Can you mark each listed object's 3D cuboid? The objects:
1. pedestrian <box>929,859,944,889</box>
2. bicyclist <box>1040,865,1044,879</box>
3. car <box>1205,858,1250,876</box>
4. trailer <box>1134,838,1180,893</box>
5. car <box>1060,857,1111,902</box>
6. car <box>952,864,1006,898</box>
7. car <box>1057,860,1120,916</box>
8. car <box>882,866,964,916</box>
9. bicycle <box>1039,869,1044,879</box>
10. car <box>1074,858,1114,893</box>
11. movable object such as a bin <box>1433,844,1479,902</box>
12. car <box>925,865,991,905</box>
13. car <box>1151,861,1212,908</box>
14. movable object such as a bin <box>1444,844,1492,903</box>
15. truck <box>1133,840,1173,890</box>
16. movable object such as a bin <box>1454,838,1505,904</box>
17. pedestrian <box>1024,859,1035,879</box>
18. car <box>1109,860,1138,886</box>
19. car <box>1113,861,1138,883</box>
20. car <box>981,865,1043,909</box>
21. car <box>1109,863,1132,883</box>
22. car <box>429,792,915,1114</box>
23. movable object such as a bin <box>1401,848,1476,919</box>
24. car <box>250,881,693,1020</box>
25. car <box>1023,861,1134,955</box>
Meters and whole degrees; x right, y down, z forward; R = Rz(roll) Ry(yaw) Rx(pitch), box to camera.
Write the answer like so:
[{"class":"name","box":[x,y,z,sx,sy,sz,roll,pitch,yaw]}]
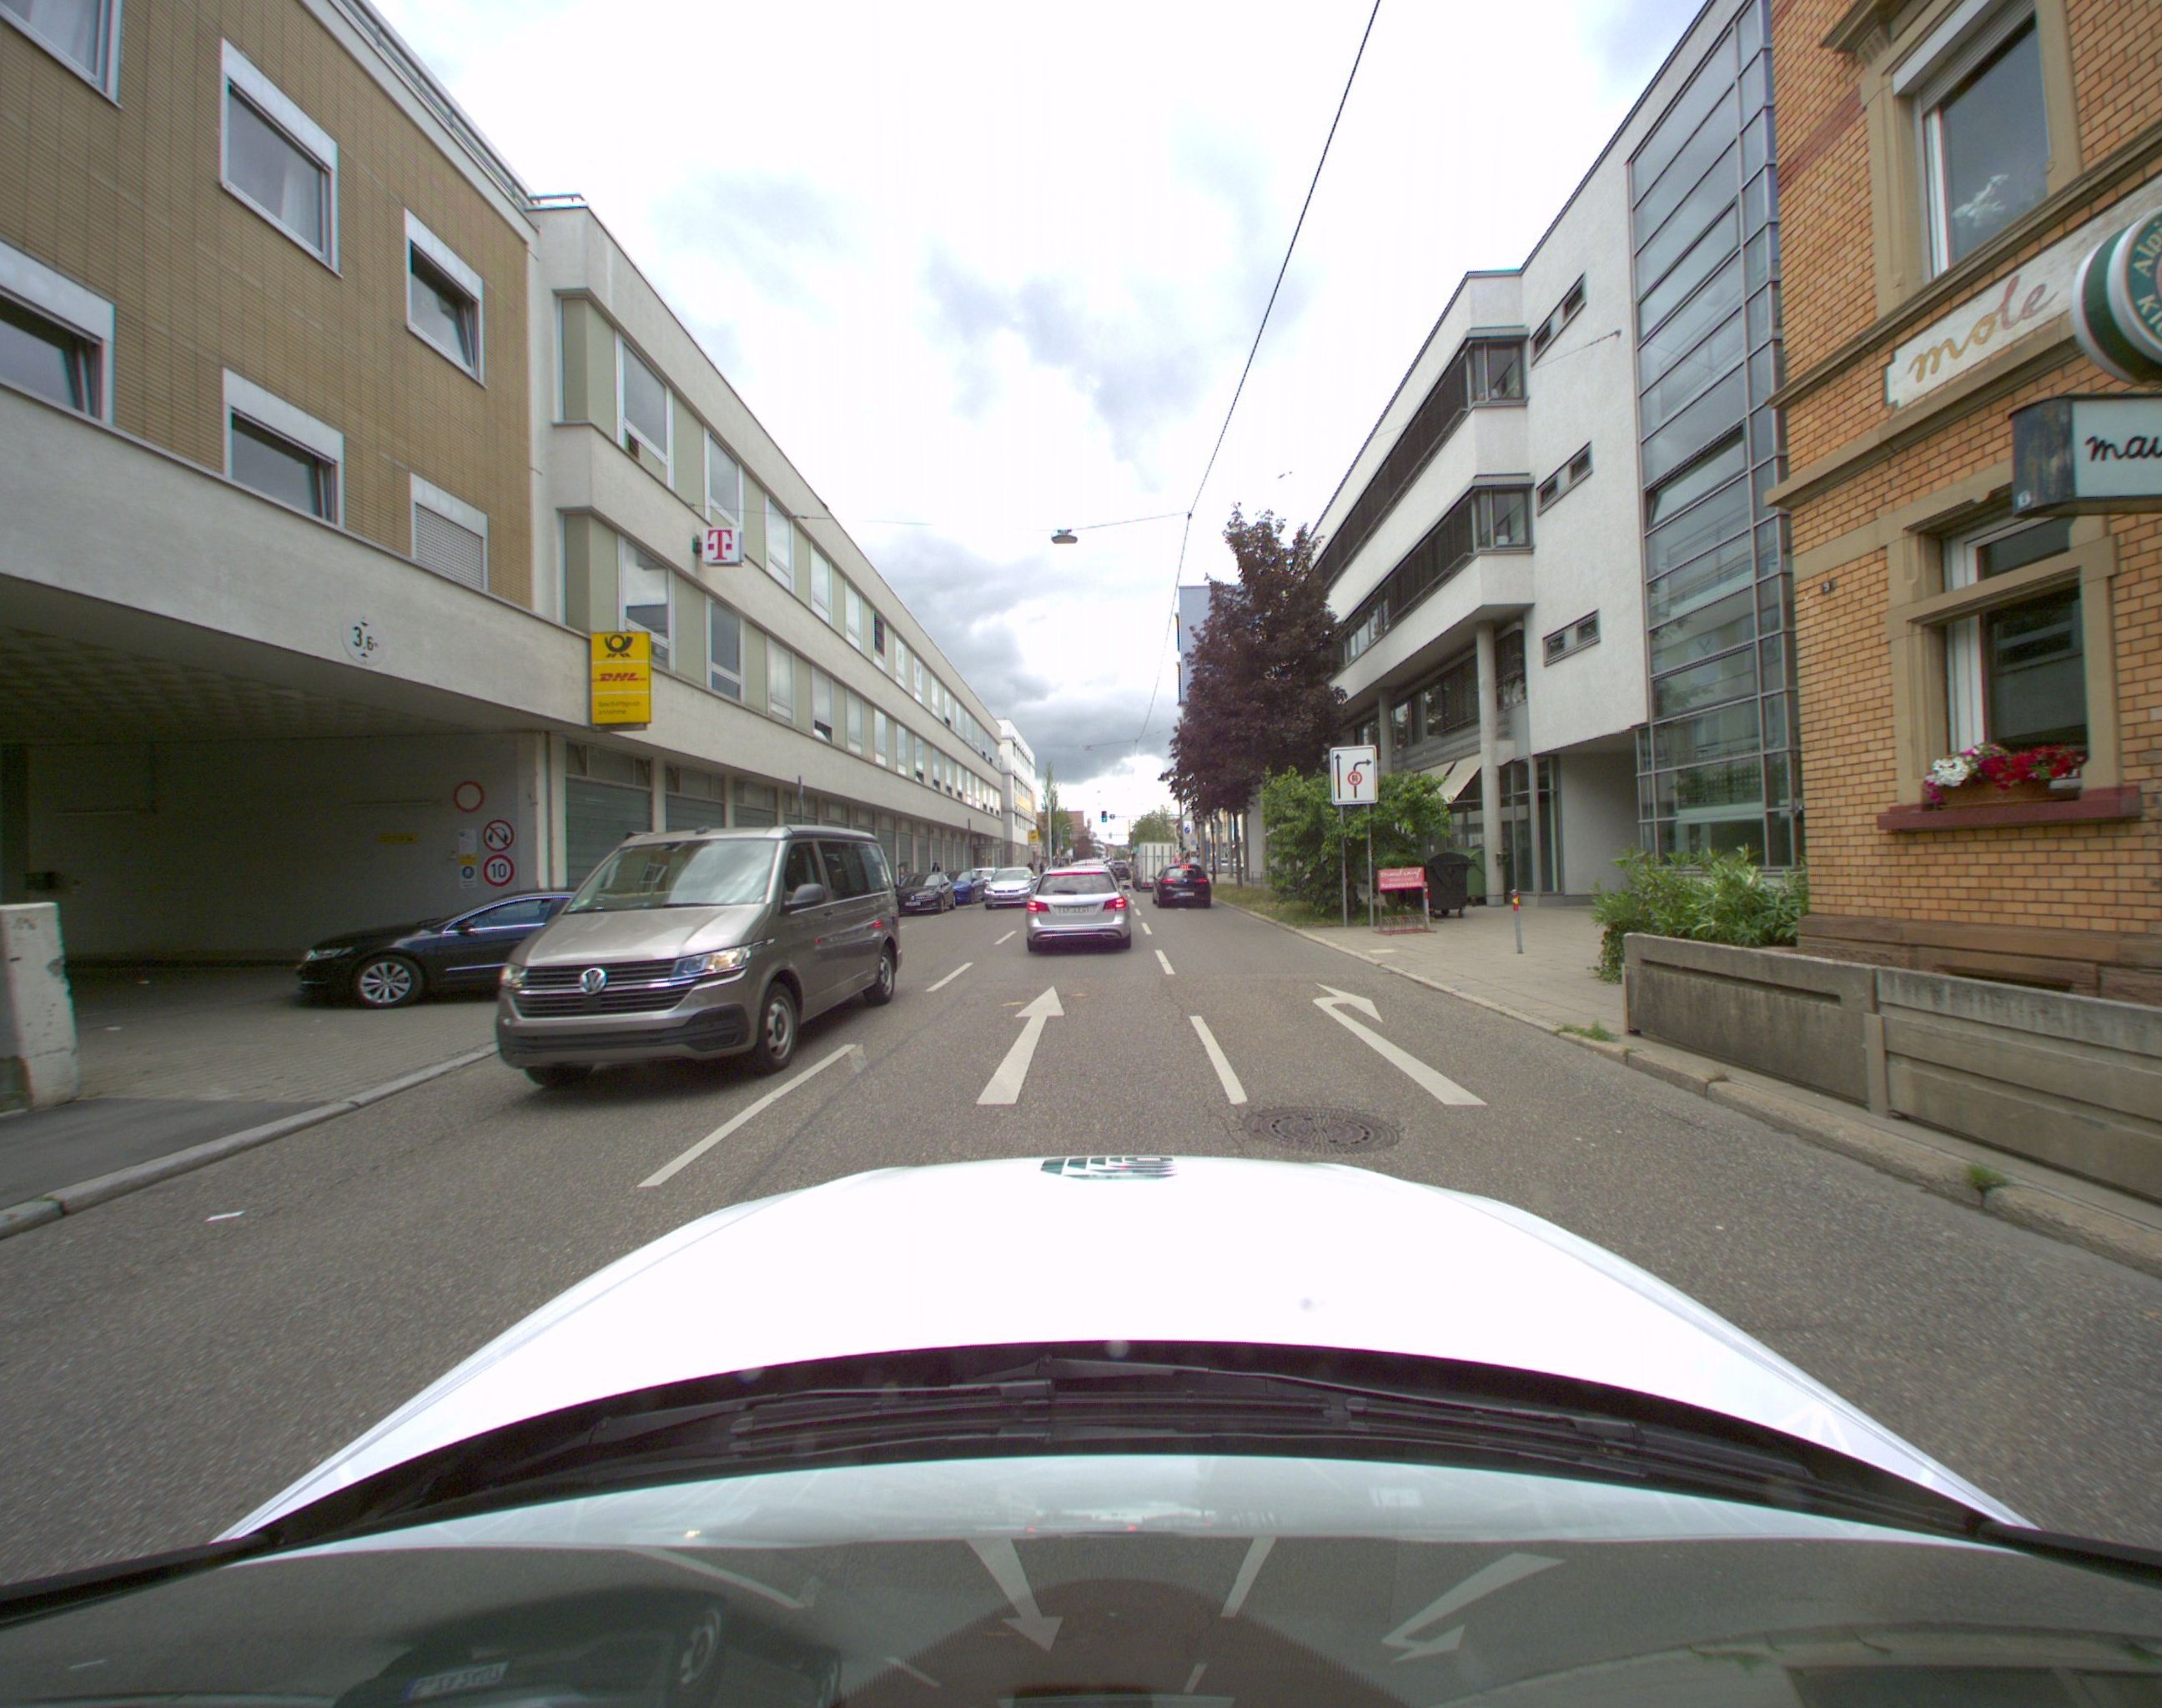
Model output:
[{"class":"pedestrian","box":[-7.920,1.077,44.618,0.653,1.623,0.681,-2,-1,3]},{"class":"bicyclist","box":[-4.673,2.132,97.621,0.443,1.697,0.556,0,-1,1]},{"class":"car","box":[14.371,1.273,79.902,3.988,1.651,1.837,0,-1,-11]},{"class":"trailer","box":[3.867,0.568,42.316,1.986,2.607,5.351,-2,-1,2]},{"class":"car","box":[0.216,0.926,31.127,1.796,1.601,3.738,0,-1,1]},{"class":"car","box":[-4.970,1.301,40.222,1.986,1.517,4.176,-2,-1,1]},{"class":"car","box":[0.271,0.989,25.356,1.796,1.553,3.738,-2,-1,1]},{"class":"car","box":[-5.498,1.244,28.824,1.906,1.517,4.176,-3,-1,1]},{"class":"bicycle","box":[-4.680,2.392,97.551,0.443,1.167,1.921,0,-1,2]},{"class":"car","box":[0.642,0.991,38.931,1.796,1.601,3.738,0,-1,1]},{"class":"movable object such as a bin","box":[10.204,0.515,22.184,0.817,1.504,0.732,-4,-2,3]},{"class":"car","box":[-5.134,1.267,34.517,1.986,1.517,4.176,-2,-1,1]},{"class":"car","box":[3.336,0.965,27.643,1.758,1.433,3.830,-1,0,2]},{"class":"movable object such as a bin","box":[10.169,0.517,21.427,0.817,1.490,0.732,-4,-2,3]},{"class":"truck","box":[3.942,0.583,45.125,1.986,2.607,3.261,-2,-1,1]},{"class":"movable object such as a bin","box":[10.106,0.443,20.674,0.817,1.590,0.732,-4,-2,3]},{"class":"pedestrian","box":[-4.882,1.409,77.048,0.915,1.869,0.783,-2,-1,1]},{"class":"car","box":[2.768,1.202,53.205,1.796,1.601,3.738,0,-1,1]},{"class":"car","box":[3.268,1.311,60.384,1.796,1.601,3.738,0,-1,1]},{"class":"car","box":[-2.502,1.172,30.444,1.762,1.413,4.176,-3,-1,1]},{"class":"car","box":[3.332,1.598,69.049,1.796,1.601,3.738,0,-1,1]},{"class":"car","box":[-3.199,0.672,7.818,1.986,2.013,4.904,-3,-1,1]},{"class":"movable object such as a bin","box":[7.907,0.632,18.101,0.940,1.470,1.445,-3,-1,0]},{"class":"car","box":[-7.650,1.126,10.849,4.423,1.366,1.769,-1,-1,-28]},{"class":"car","box":[0.009,0.898,15.272,1.796,1.493,3.738,-2,-1,1]}]
